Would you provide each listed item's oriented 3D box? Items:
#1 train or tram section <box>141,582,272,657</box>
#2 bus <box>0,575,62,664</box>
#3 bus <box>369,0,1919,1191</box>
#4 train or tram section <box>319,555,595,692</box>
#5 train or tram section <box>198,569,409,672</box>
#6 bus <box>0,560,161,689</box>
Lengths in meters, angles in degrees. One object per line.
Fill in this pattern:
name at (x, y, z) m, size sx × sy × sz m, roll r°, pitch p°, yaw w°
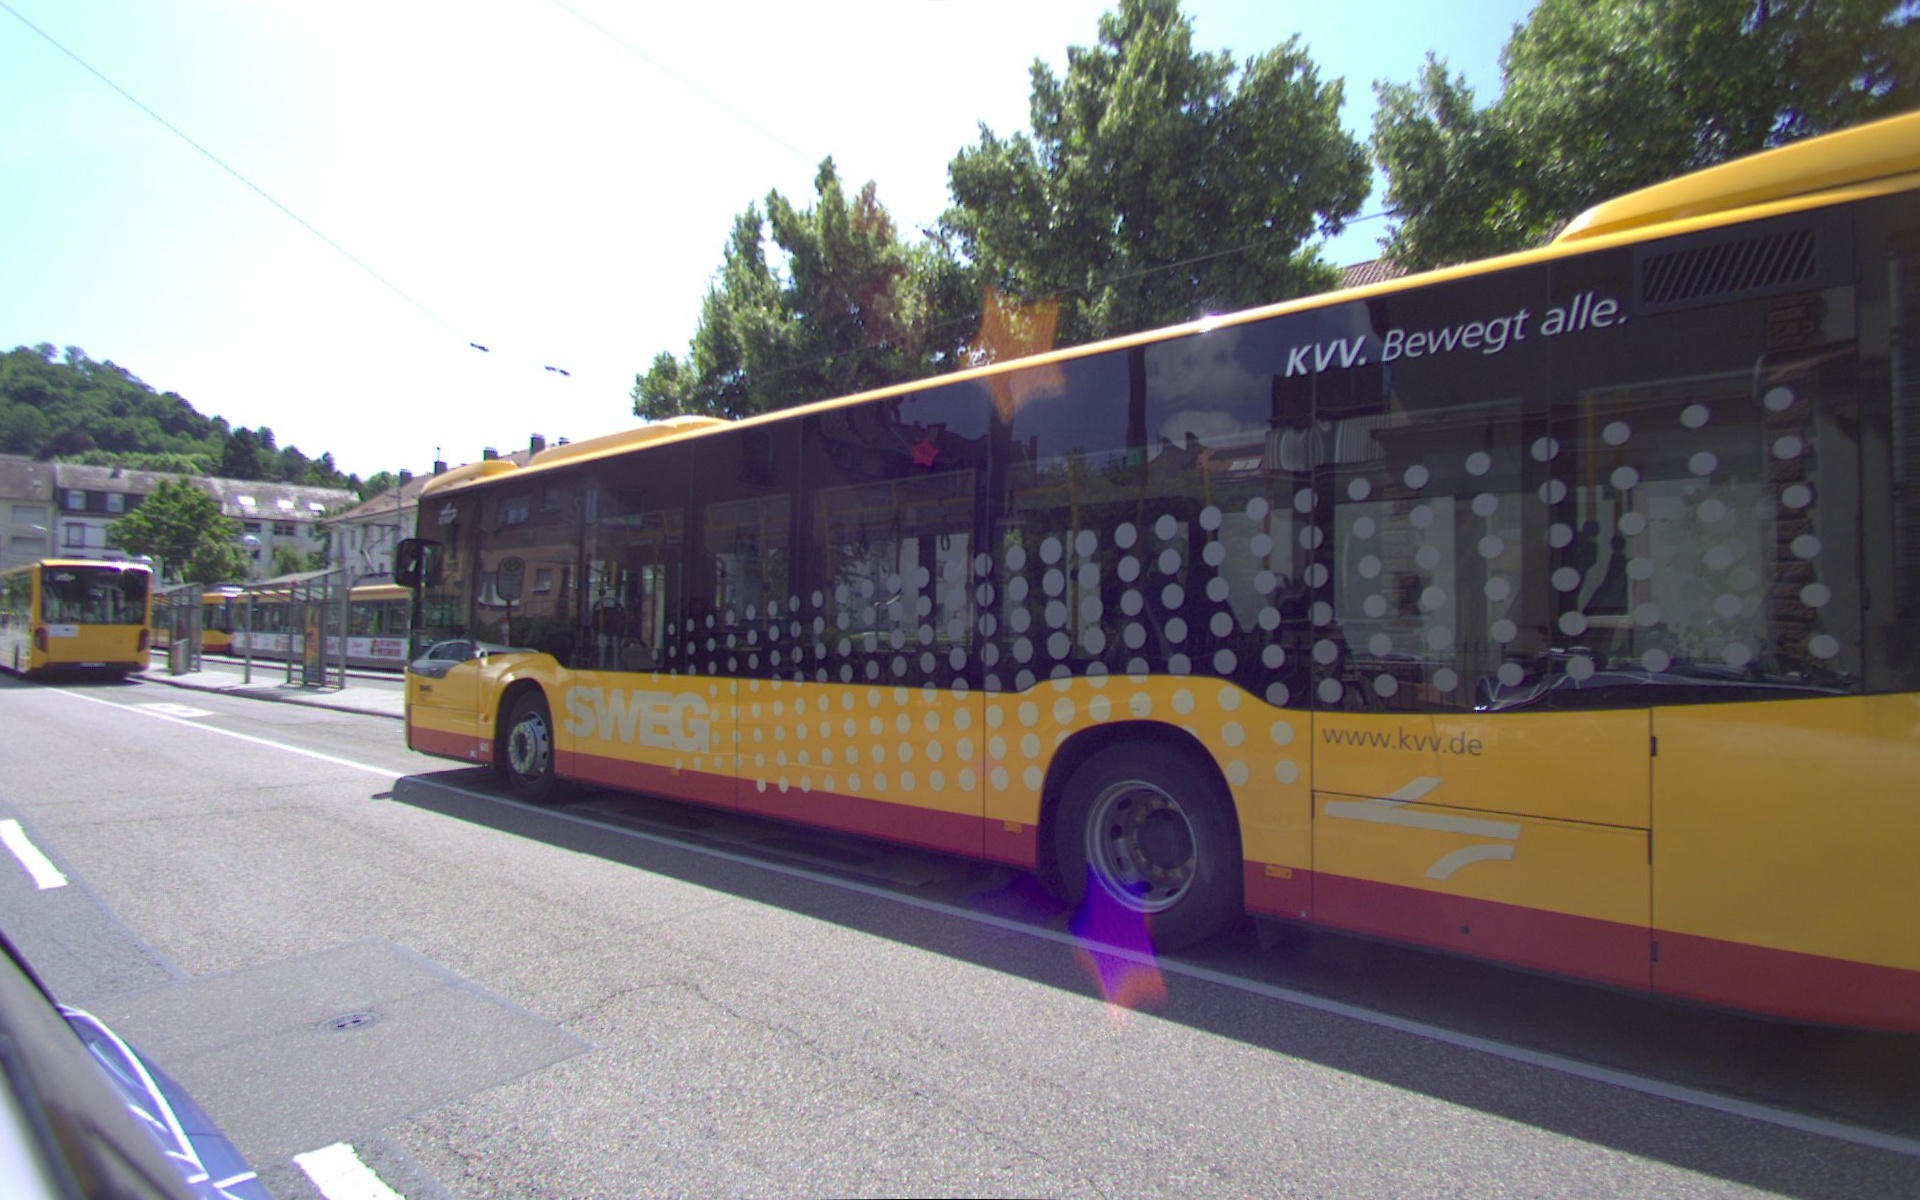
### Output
train or tram section at (-39.445, 0.946, 52.714) m, size 12.651 × 3.521 × 2.932 m, roll -1°, pitch 0°, yaw 41°
bus at (-41.850, 0.898, 43.843) m, size 12.032 × 3.453 × 2.878 m, roll -2°, pitch -1°, yaw 41°
bus at (-0.325, -0.020, 7.118) m, size 12.111 × 3.272 × 2.877 m, roll -1°, pitch 0°, yaw 41°
train or tram section at (-16.747, 0.681, 32.741) m, size 13.987 × 3.670 × 2.932 m, roll -1°, pitch 0°, yaw 41°
train or tram section at (-28.359, 0.796, 42.980) m, size 17.344 × 3.670 × 2.932 m, roll -1°, pitch 0°, yaw 41°
bus at (-27.477, 0.558, 30.857) m, size 12.193 × 3.272 × 2.867 m, roll 1°, pitch 1°, yaw 42°
